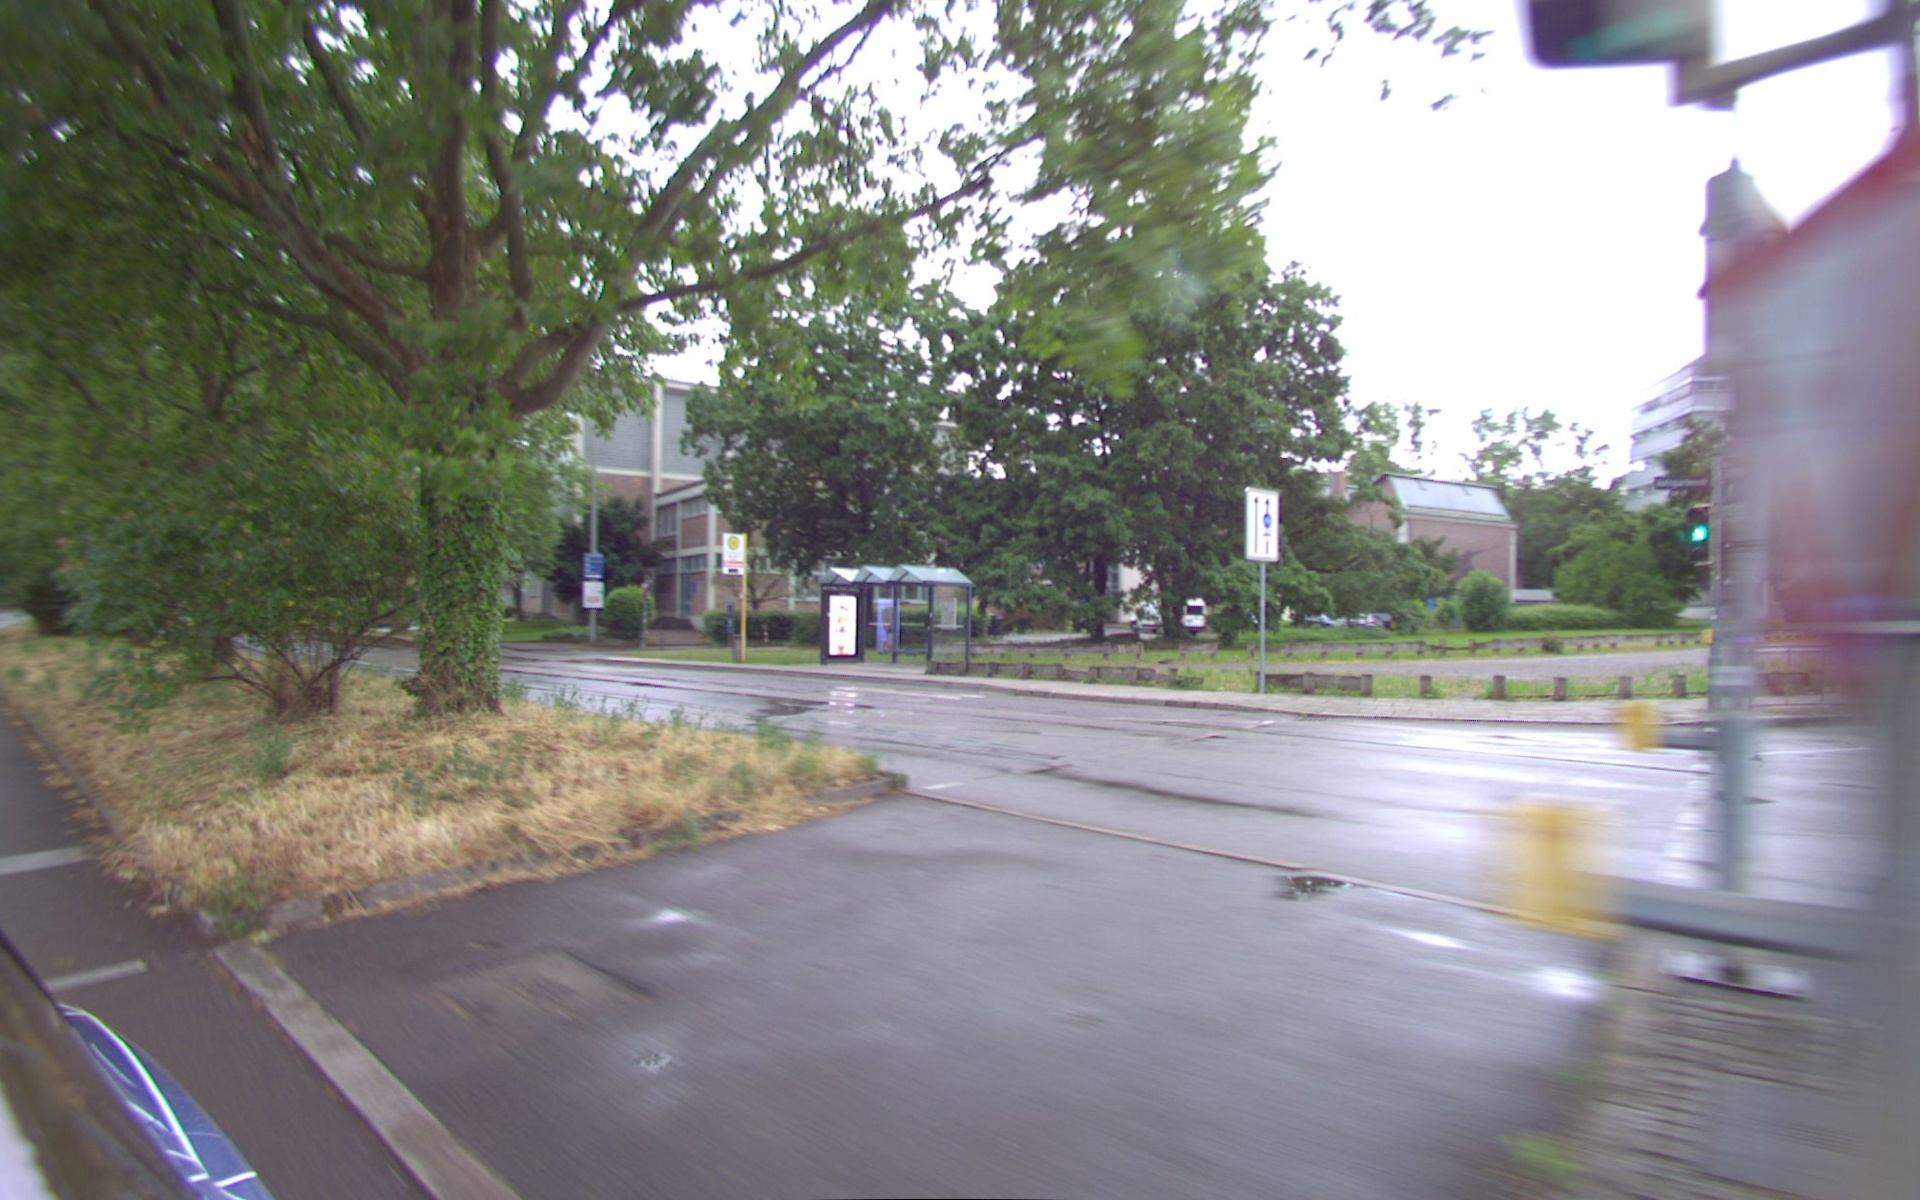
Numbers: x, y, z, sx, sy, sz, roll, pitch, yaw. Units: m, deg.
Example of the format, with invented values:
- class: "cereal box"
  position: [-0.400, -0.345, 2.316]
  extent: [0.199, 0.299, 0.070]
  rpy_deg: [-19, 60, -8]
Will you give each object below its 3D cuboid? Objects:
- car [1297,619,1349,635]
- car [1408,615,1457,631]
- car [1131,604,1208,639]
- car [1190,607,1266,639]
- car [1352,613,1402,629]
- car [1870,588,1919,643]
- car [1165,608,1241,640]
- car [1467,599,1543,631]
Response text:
- class: "car"
  position: [28.230, 2.087, 78.755]
  extent: [1.565, 1.151, 3.566]
  rpy_deg: [-1, 1, -33]
- class: "car"
  position: [40.497, 1.965, 86.789]
  extent: [1.565, 1.151, 3.566]
  rpy_deg: [-1, 1, -33]
- class: "car"
  position: [14.356, 1.441, 69.555]
  extent: [2.249, 2.195, 5.093]
  rpy_deg: [0, 1, -33]
- class: "car"
  position: [19.208, 1.603, 72.735]
  extent: [2.249, 2.090, 5.094]
  rpy_deg: [0, 1, -32]
- class: "car"
  position: [34.141, 1.723, 82.884]
  extent: [1.565, 1.151, 3.566]
  rpy_deg: [-1, 1, -33]
- class: "car"
  position: [32.027, 0.517, 32.586]
  extent: [1.812, 1.781, 4.495]
  rpy_deg: [0, -1, 8]
- class: "car"
  position: [17.034, 1.635, 71.163]
  extent: [2.249, 2.037, 5.093]
  rpy_deg: [0, 1, -33]
- class: "car"
  position: [51.018, 1.373, 94.746]
  extent: [6.356, 2.838, 3.609]
  rpy_deg: [-1, 1, -32]
